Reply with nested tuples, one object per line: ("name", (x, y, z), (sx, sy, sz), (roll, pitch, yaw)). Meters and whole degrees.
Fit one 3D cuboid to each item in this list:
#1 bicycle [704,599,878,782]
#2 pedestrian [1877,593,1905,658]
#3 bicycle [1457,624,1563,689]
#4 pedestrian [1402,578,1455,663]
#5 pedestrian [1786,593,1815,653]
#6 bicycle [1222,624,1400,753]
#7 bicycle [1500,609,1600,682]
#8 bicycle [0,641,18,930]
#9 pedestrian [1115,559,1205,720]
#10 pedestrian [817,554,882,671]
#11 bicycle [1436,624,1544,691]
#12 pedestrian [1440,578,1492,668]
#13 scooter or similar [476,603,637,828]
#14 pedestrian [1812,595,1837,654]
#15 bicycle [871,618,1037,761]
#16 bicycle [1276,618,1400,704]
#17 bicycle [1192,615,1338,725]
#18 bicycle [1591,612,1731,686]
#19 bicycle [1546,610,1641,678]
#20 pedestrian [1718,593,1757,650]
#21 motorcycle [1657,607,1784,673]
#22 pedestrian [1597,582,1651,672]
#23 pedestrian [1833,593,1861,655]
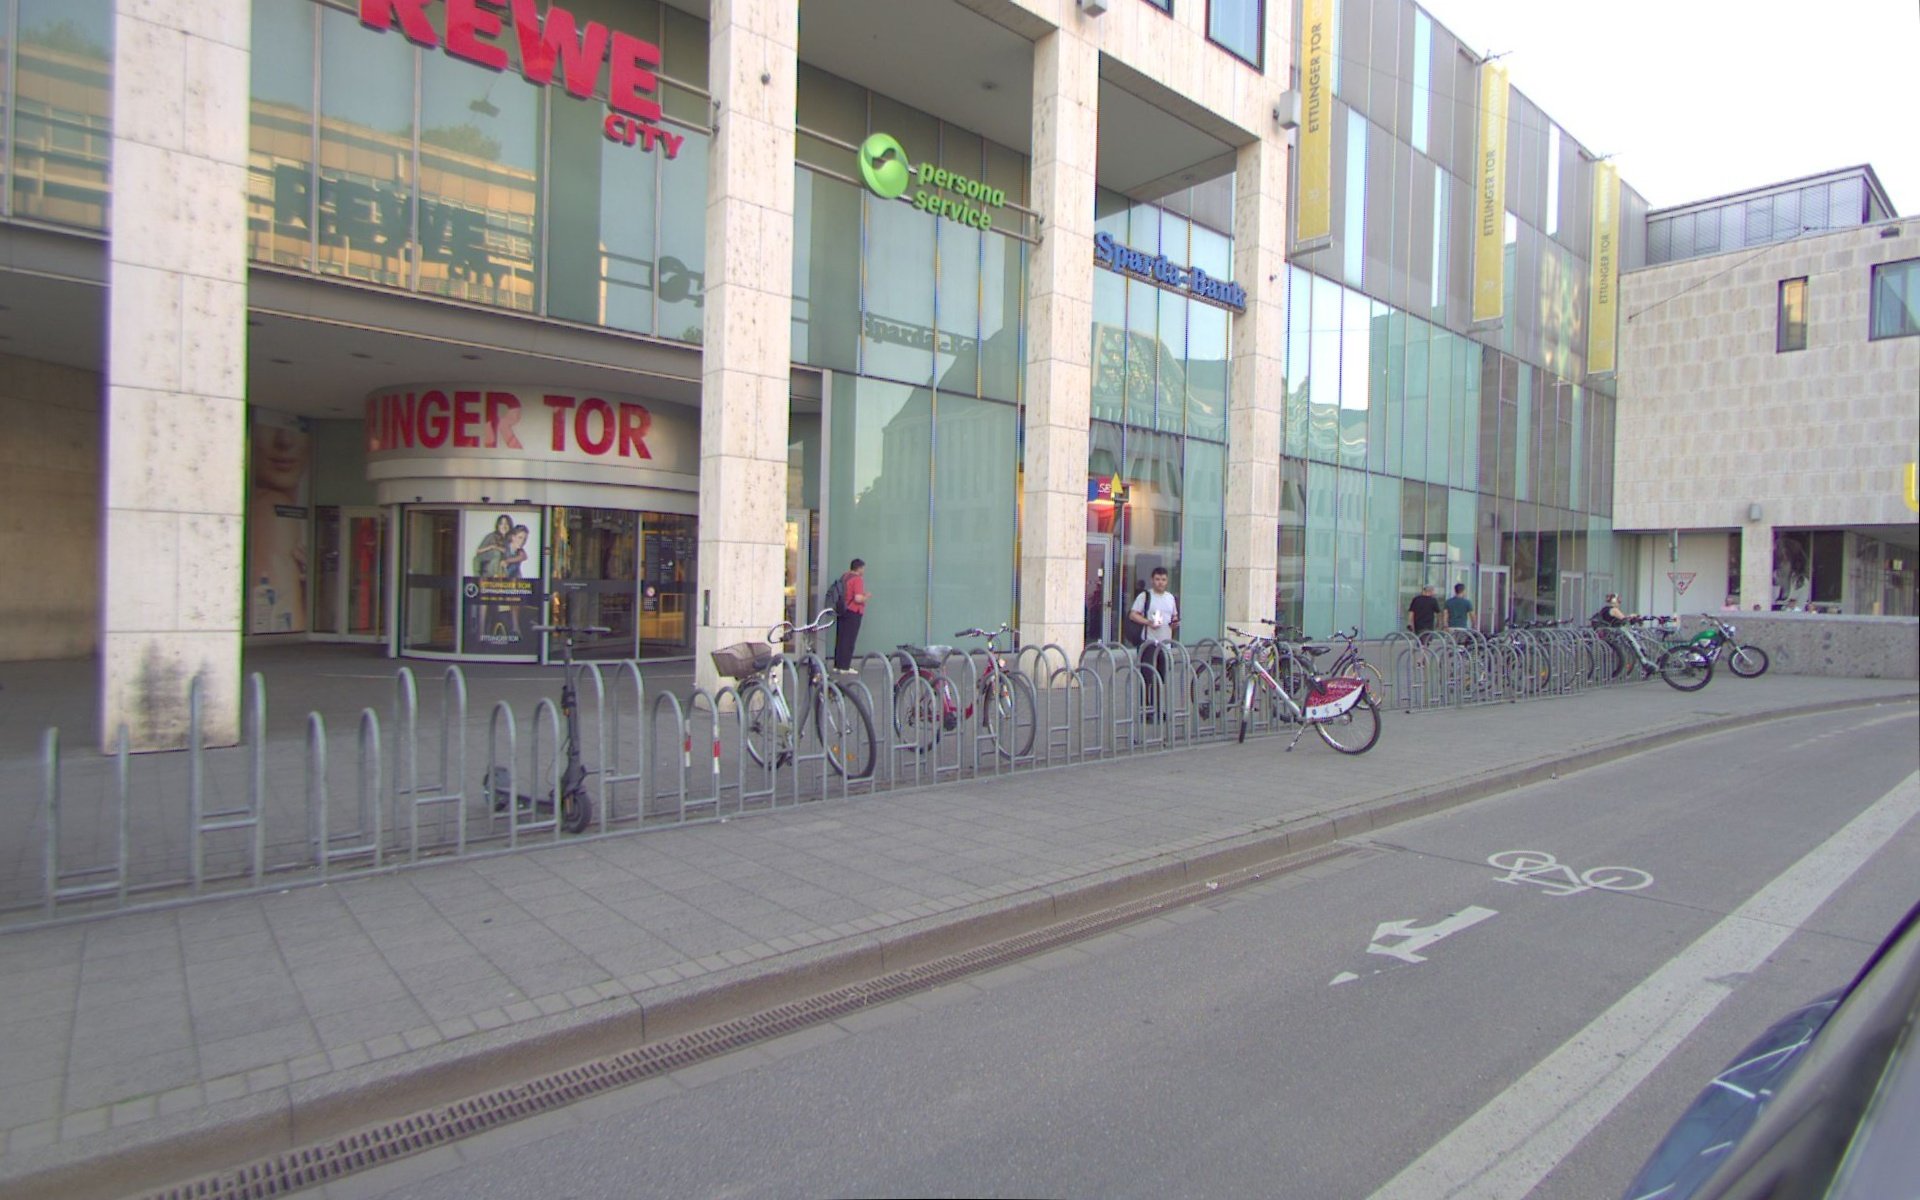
("bicycle", (-1.312, 0.625, 7.667), (0.607, 1.243, 1.517), (1, -2, -41))
("pedestrian", (25.605, 0.686, 27.842), (0.483, 1.765, 0.455), (1, 1, -38))
("bicycle", (8.450, 0.855, 15.586), (0.509, 0.944, 1.344), (1, -2, -41))
("pedestrian", (9.515, 0.396, 20.546), (0.738, 1.668, 0.807), (2, 1, 43))
("pedestrian", (25.188, 0.685, 30.332), (0.644, 1.765, 0.494), (1, 1, -38))
("bicycle", (3.166, 0.760, 9.248), (0.458, 1.077, 1.518), (1, -2, -39))
("bicycle", (9.826, 0.738, 16.896), (0.509, 1.179, 1.344), (1, -2, -41))
("bicycle", (-4.576, 0.731, 4.465), (1.768, 1.092, 0.475), (3, 1, 43))
("pedestrian", (2.213, 0.414, 11.225), (0.617, 1.713, 0.708), (1, 1, -32))
("pedestrian", (-1.645, 0.173, 15.017), (0.695, 1.672, 0.629), (1, 1, -40))
("bicycle", (7.940, 0.843, 15.207), (0.509, 0.944, 1.344), (1, -2, -41))
("pedestrian", (10.007, 0.436, 20.000), (0.696, 1.717, 0.808), (2, 1, 41))
("scooter or similar", (-2.523, 0.651, 6.275), (0.484, 1.214, 1.194), (1, 1, -44))
("pedestrian", (26.161, 0.727, 30.614), (0.483, 1.765, 0.455), (1, 1, -38))
("bicycle", (-0.080, 0.713, 8.670), (0.543, 1.120, 1.516), (1, -2, -43))
("bicycle", (5.007, 0.781, 13.450), (1.439, 1.078, 0.572), (-1, -2, 39))
("bicycle", (3.374, 0.742, 11.311), (0.569, 1.138, 1.519), (1, -2, -36))
("bicycle", (11.561, 0.775, 16.745), (0.458, 1.161, 1.837), (1, -2, -39))
("bicycle", (11.389, 0.771, 18.220), (0.509, 1.179, 1.344), (1, -2, -41))
("pedestrian", (24.509, 0.663, 31.903), (0.644, 1.765, 0.794), (1, 1, -38))
("motorcycle", (15.574, 0.792, 20.767), (0.472, 1.239, 2.004), (1, 1, -43))
("pedestrian", (12.730, 0.498, 19.419), (0.802, 1.663, 0.640), (2, 1, 31))
("pedestrian", (25.621, 0.691, 29.235), (0.483, 1.765, 0.504), (1, 1, -38))
